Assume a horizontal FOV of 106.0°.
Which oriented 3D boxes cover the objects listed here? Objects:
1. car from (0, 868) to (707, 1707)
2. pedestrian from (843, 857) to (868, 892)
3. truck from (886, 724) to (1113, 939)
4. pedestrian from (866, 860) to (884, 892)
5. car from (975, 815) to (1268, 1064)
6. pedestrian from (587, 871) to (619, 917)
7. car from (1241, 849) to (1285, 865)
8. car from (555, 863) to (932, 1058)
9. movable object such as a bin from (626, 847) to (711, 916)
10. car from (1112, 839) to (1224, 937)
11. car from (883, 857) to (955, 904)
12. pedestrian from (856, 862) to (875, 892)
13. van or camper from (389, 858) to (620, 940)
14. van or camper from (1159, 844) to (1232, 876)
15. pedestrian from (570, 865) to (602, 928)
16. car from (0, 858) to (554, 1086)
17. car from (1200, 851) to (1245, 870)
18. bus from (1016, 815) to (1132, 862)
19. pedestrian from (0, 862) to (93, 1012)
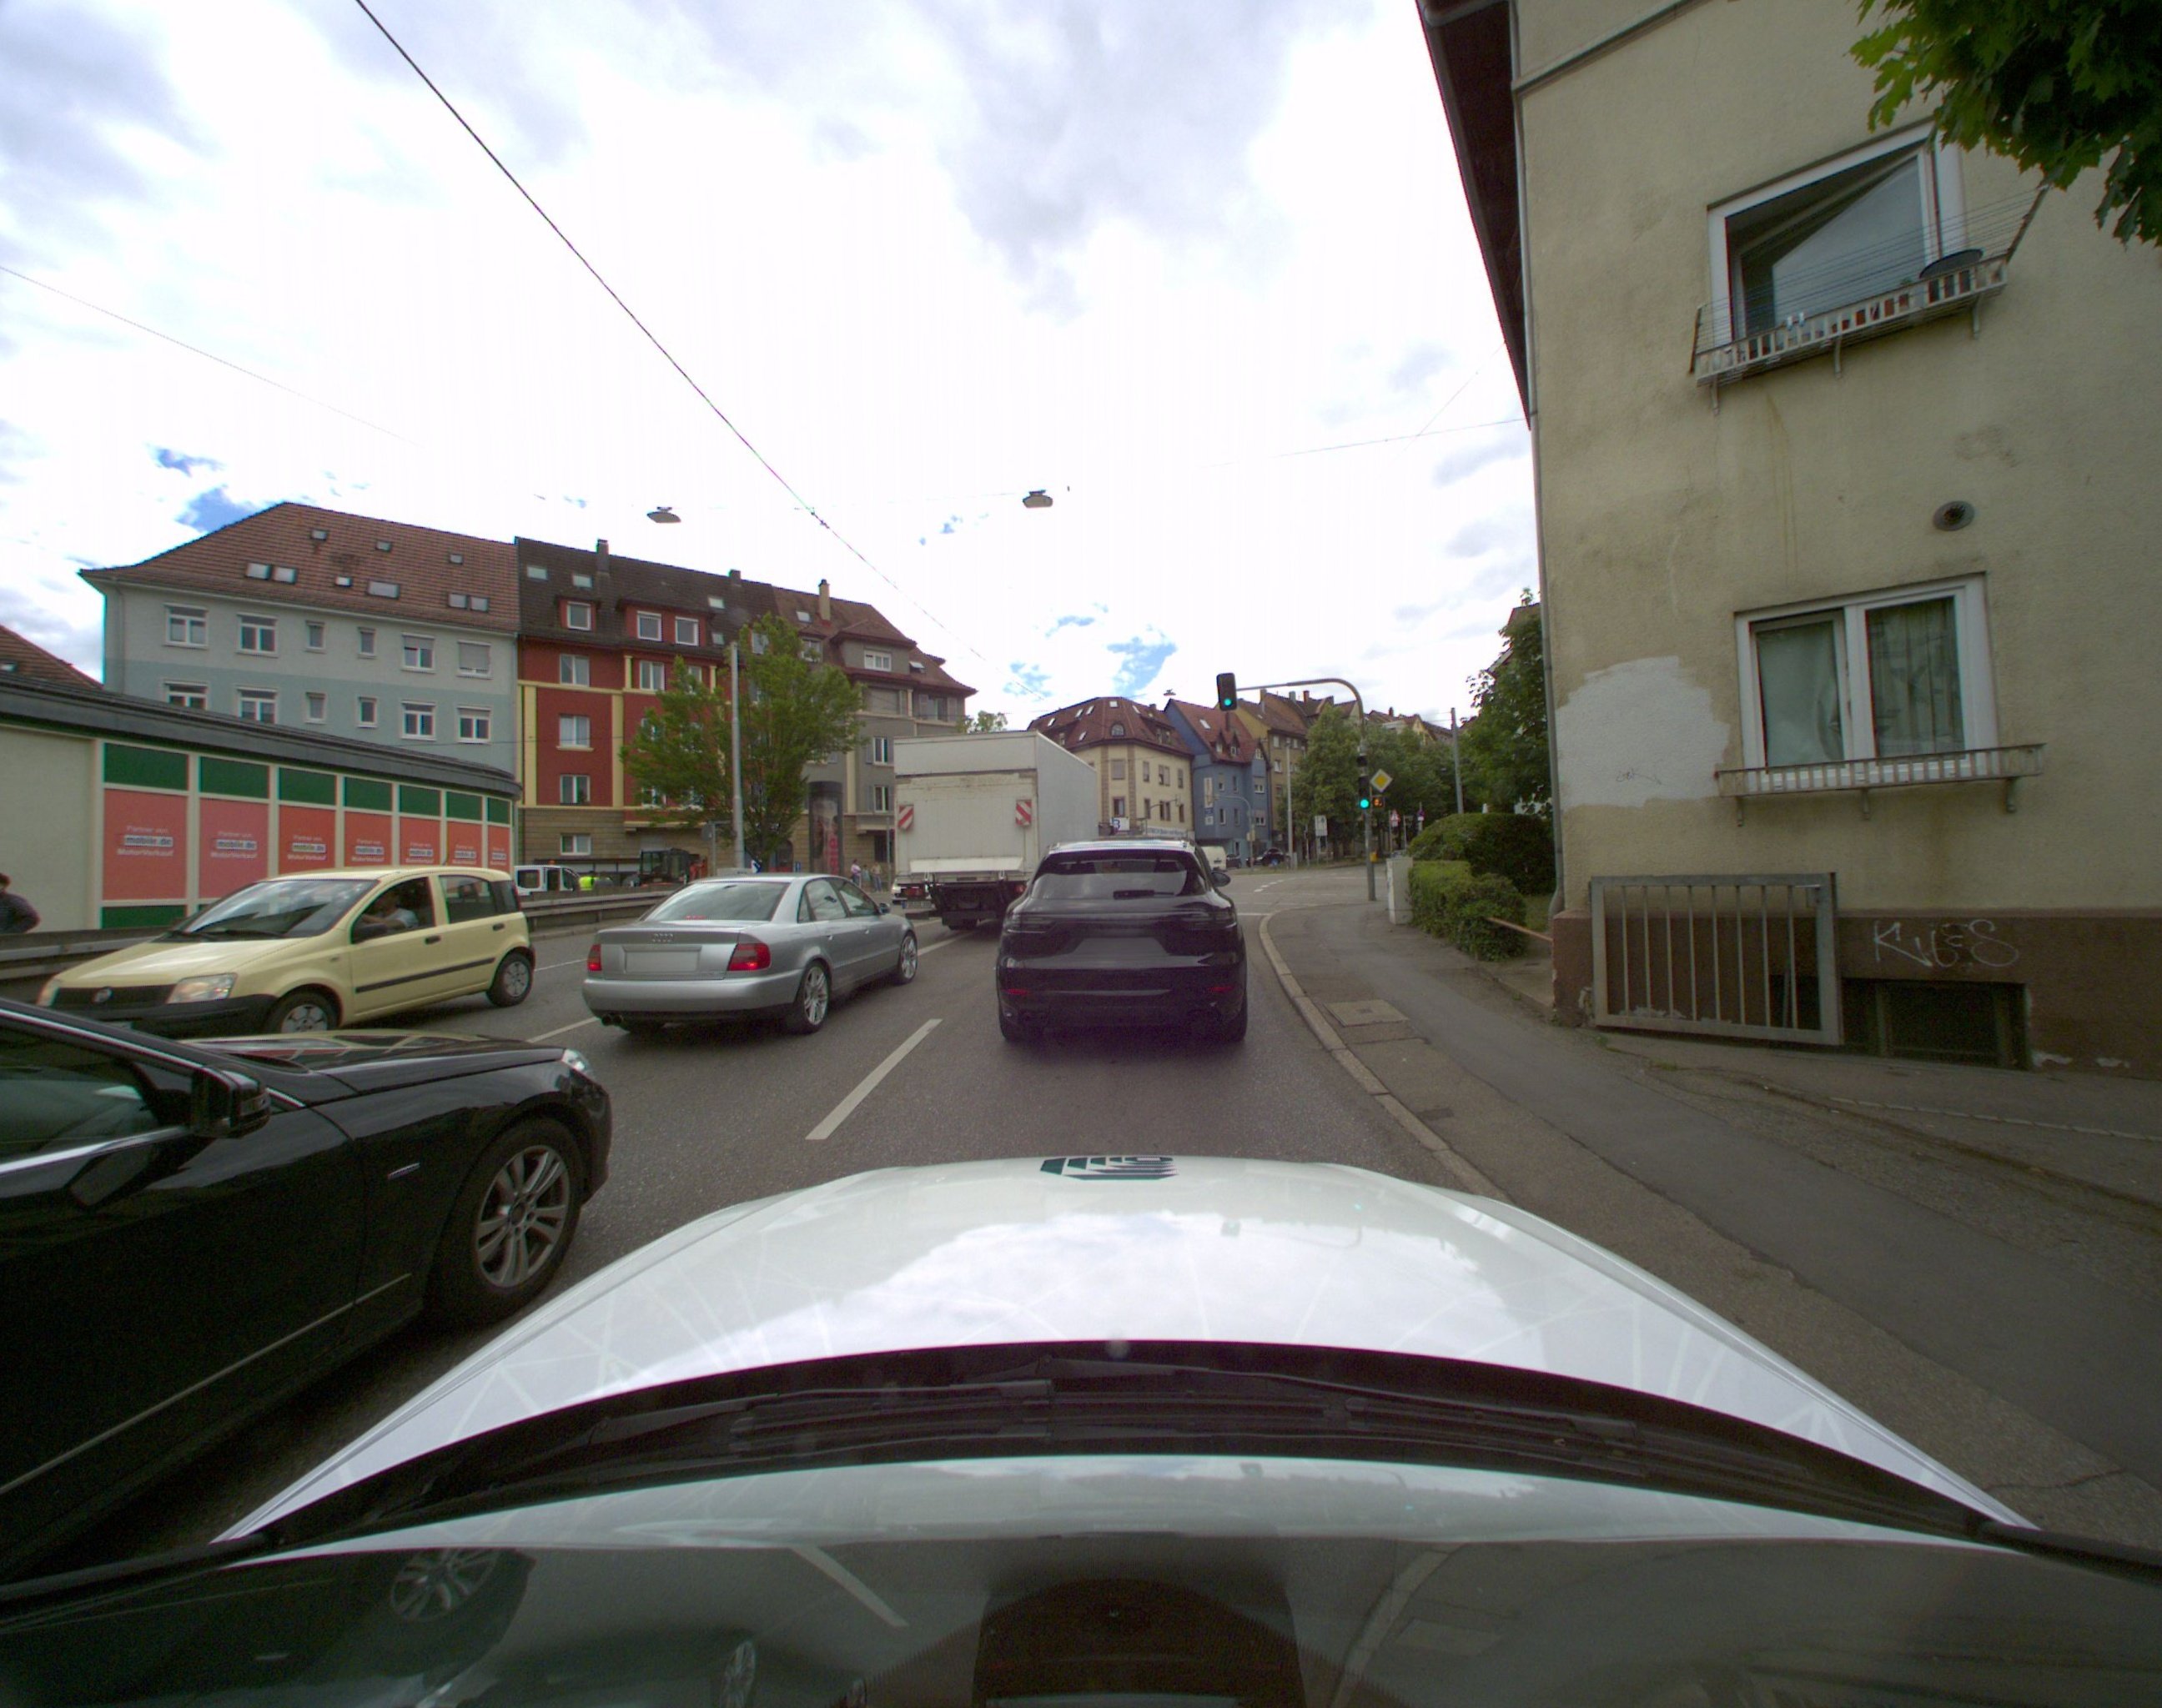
[{"bbox_3d":[-2.851,0.805,1.443,1.986,1.429,4.844,-1,0,2],"label":"car"},{"bbox_3d":[-10.165,0.930,36.735,0.785,1.546,0.743,-1,0,29],"label":"pedestrian"},{"bbox_3d":[-1.229,-0.381,17.759,2.708,3.544,8.445,0,0,10],"label":"truck"},{"bbox_3d":[-9.594,1.025,37.940,0.517,1.487,0.657,-1,0,27],"label":"pedestrian"},{"bbox_3d":[0.352,0.579,7.922,2.024,1.723,4.502,0,0,2],"label":"car"},{"bbox_3d":[-14.664,1.228,24.974,0.594,1.363,0.630,-2,0,35],"label":"pedestrian"},{"bbox_3d":[17.036,0.284,76.072,1.852,1.416,4.726,-3,-2,44],"label":"car"},{"bbox_3d":[-2.946,0.837,8.204,1.620,1.365,4.136,-2,0,7],"label":"car"},{"bbox_3d":[-13.142,0.842,26.148,1.375,2.013,3.524,-2,0,-10],"label":"movable object such as a bin"},{"bbox_3d":[1.693,0.561,14.844,1.638,1.556,3.595,-1,-1,12],"label":"car"},{"bbox_3d":[-5.410,0.854,27.577,1.591,1.447,3.532,-2,0,2],"label":"car"},{"bbox_3d":[-9.891,1.071,37.383,0.569,1.338,0.588,-2,0,28],"label":"pedestrian"},{"bbox_3d":[-18.984,1.386,27.257,6.028,2.338,2.661,-1,0,-33],"label":"van or camper"},{"bbox_3d":[7.401,0.380,53.125,2.008,2.014,4.778,0,-1,-35],"label":"van or camper"},{"bbox_3d":[-16.335,1.391,26.877,0.830,2.013,0.672,-1,0,-37],"label":"pedestrian"},{"bbox_3d":[-6.777,0.834,7.422,1.592,1.517,3.459,-3,0,1],"label":"car"},{"bbox_3d":[12.365,0.570,71.040,1.700,1.476,4.244,-4,-2,44],"label":"car"},{"bbox_3d":[-0.865,-1.132,65.471,3.180,3.096,12.022,-2,-1,-34],"label":"bus"},{"bbox_3d":[-12.163,0.922,9.328,0.686,1.637,0.778,-2,0,-1],"label":"pedestrian"}]
